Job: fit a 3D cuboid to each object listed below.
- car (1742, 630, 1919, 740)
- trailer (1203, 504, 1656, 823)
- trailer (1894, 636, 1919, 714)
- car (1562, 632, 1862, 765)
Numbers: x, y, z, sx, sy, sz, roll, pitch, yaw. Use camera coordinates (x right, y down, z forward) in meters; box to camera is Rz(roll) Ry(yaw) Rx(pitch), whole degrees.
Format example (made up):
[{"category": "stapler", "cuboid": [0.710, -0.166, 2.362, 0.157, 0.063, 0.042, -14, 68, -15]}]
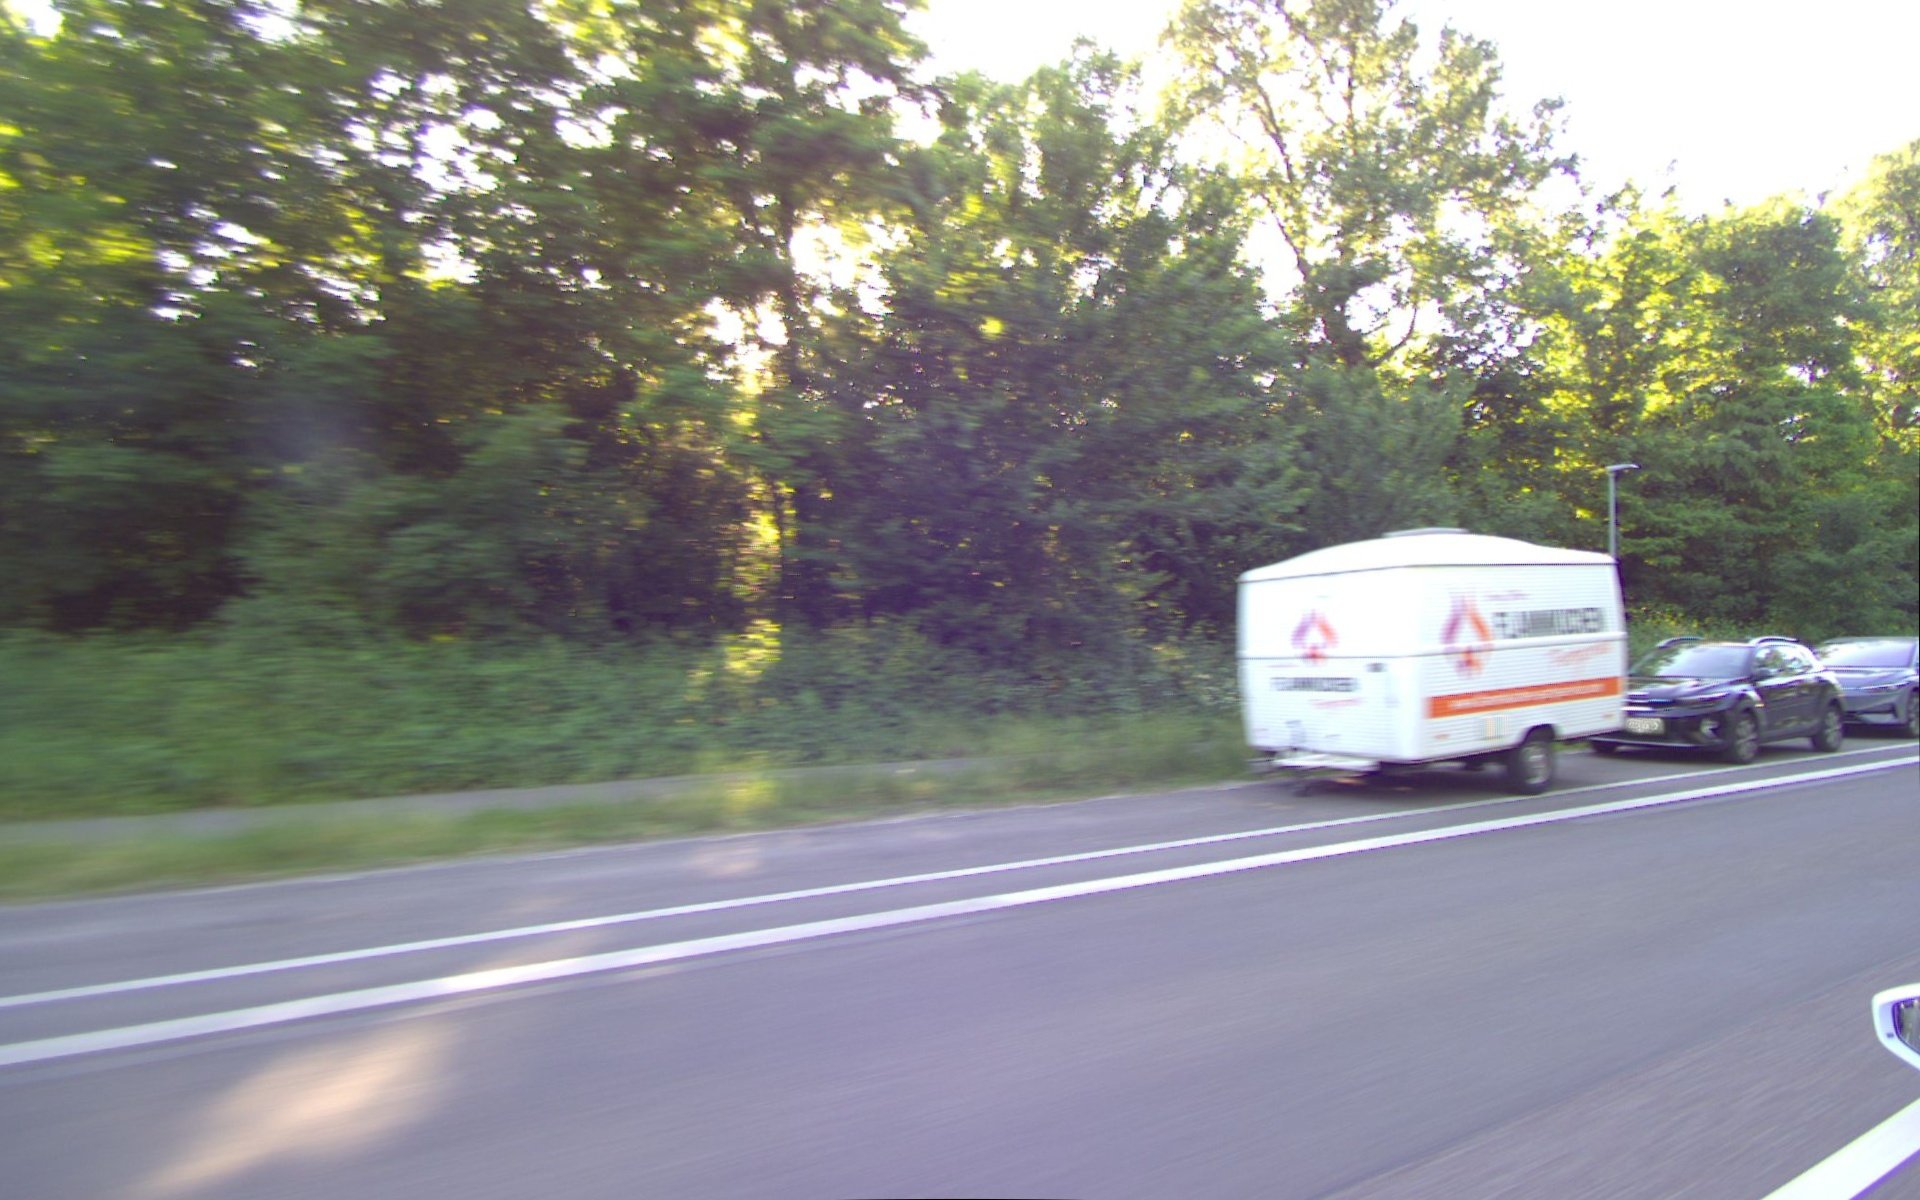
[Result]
[{"category": "car", "cuboid": [15.066, 1.353, 16.536, 5.067, 1.594, 1.664, 2, -5, -30]}, {"category": "trailer", "cuboid": [4.845, 0.574, 10.259, 4.299, 2.562, 2.332, 1, -2, -34]}, {"category": "trailer", "cuboid": [20.613, 1.482, 19.971, 4.414, 1.485, 1.832, 1, -1, -31]}, {"category": "car", "cuboid": [9.979, 1.241, 13.272, 4.145, 1.514, 1.664, 2, -5, -30]}]
